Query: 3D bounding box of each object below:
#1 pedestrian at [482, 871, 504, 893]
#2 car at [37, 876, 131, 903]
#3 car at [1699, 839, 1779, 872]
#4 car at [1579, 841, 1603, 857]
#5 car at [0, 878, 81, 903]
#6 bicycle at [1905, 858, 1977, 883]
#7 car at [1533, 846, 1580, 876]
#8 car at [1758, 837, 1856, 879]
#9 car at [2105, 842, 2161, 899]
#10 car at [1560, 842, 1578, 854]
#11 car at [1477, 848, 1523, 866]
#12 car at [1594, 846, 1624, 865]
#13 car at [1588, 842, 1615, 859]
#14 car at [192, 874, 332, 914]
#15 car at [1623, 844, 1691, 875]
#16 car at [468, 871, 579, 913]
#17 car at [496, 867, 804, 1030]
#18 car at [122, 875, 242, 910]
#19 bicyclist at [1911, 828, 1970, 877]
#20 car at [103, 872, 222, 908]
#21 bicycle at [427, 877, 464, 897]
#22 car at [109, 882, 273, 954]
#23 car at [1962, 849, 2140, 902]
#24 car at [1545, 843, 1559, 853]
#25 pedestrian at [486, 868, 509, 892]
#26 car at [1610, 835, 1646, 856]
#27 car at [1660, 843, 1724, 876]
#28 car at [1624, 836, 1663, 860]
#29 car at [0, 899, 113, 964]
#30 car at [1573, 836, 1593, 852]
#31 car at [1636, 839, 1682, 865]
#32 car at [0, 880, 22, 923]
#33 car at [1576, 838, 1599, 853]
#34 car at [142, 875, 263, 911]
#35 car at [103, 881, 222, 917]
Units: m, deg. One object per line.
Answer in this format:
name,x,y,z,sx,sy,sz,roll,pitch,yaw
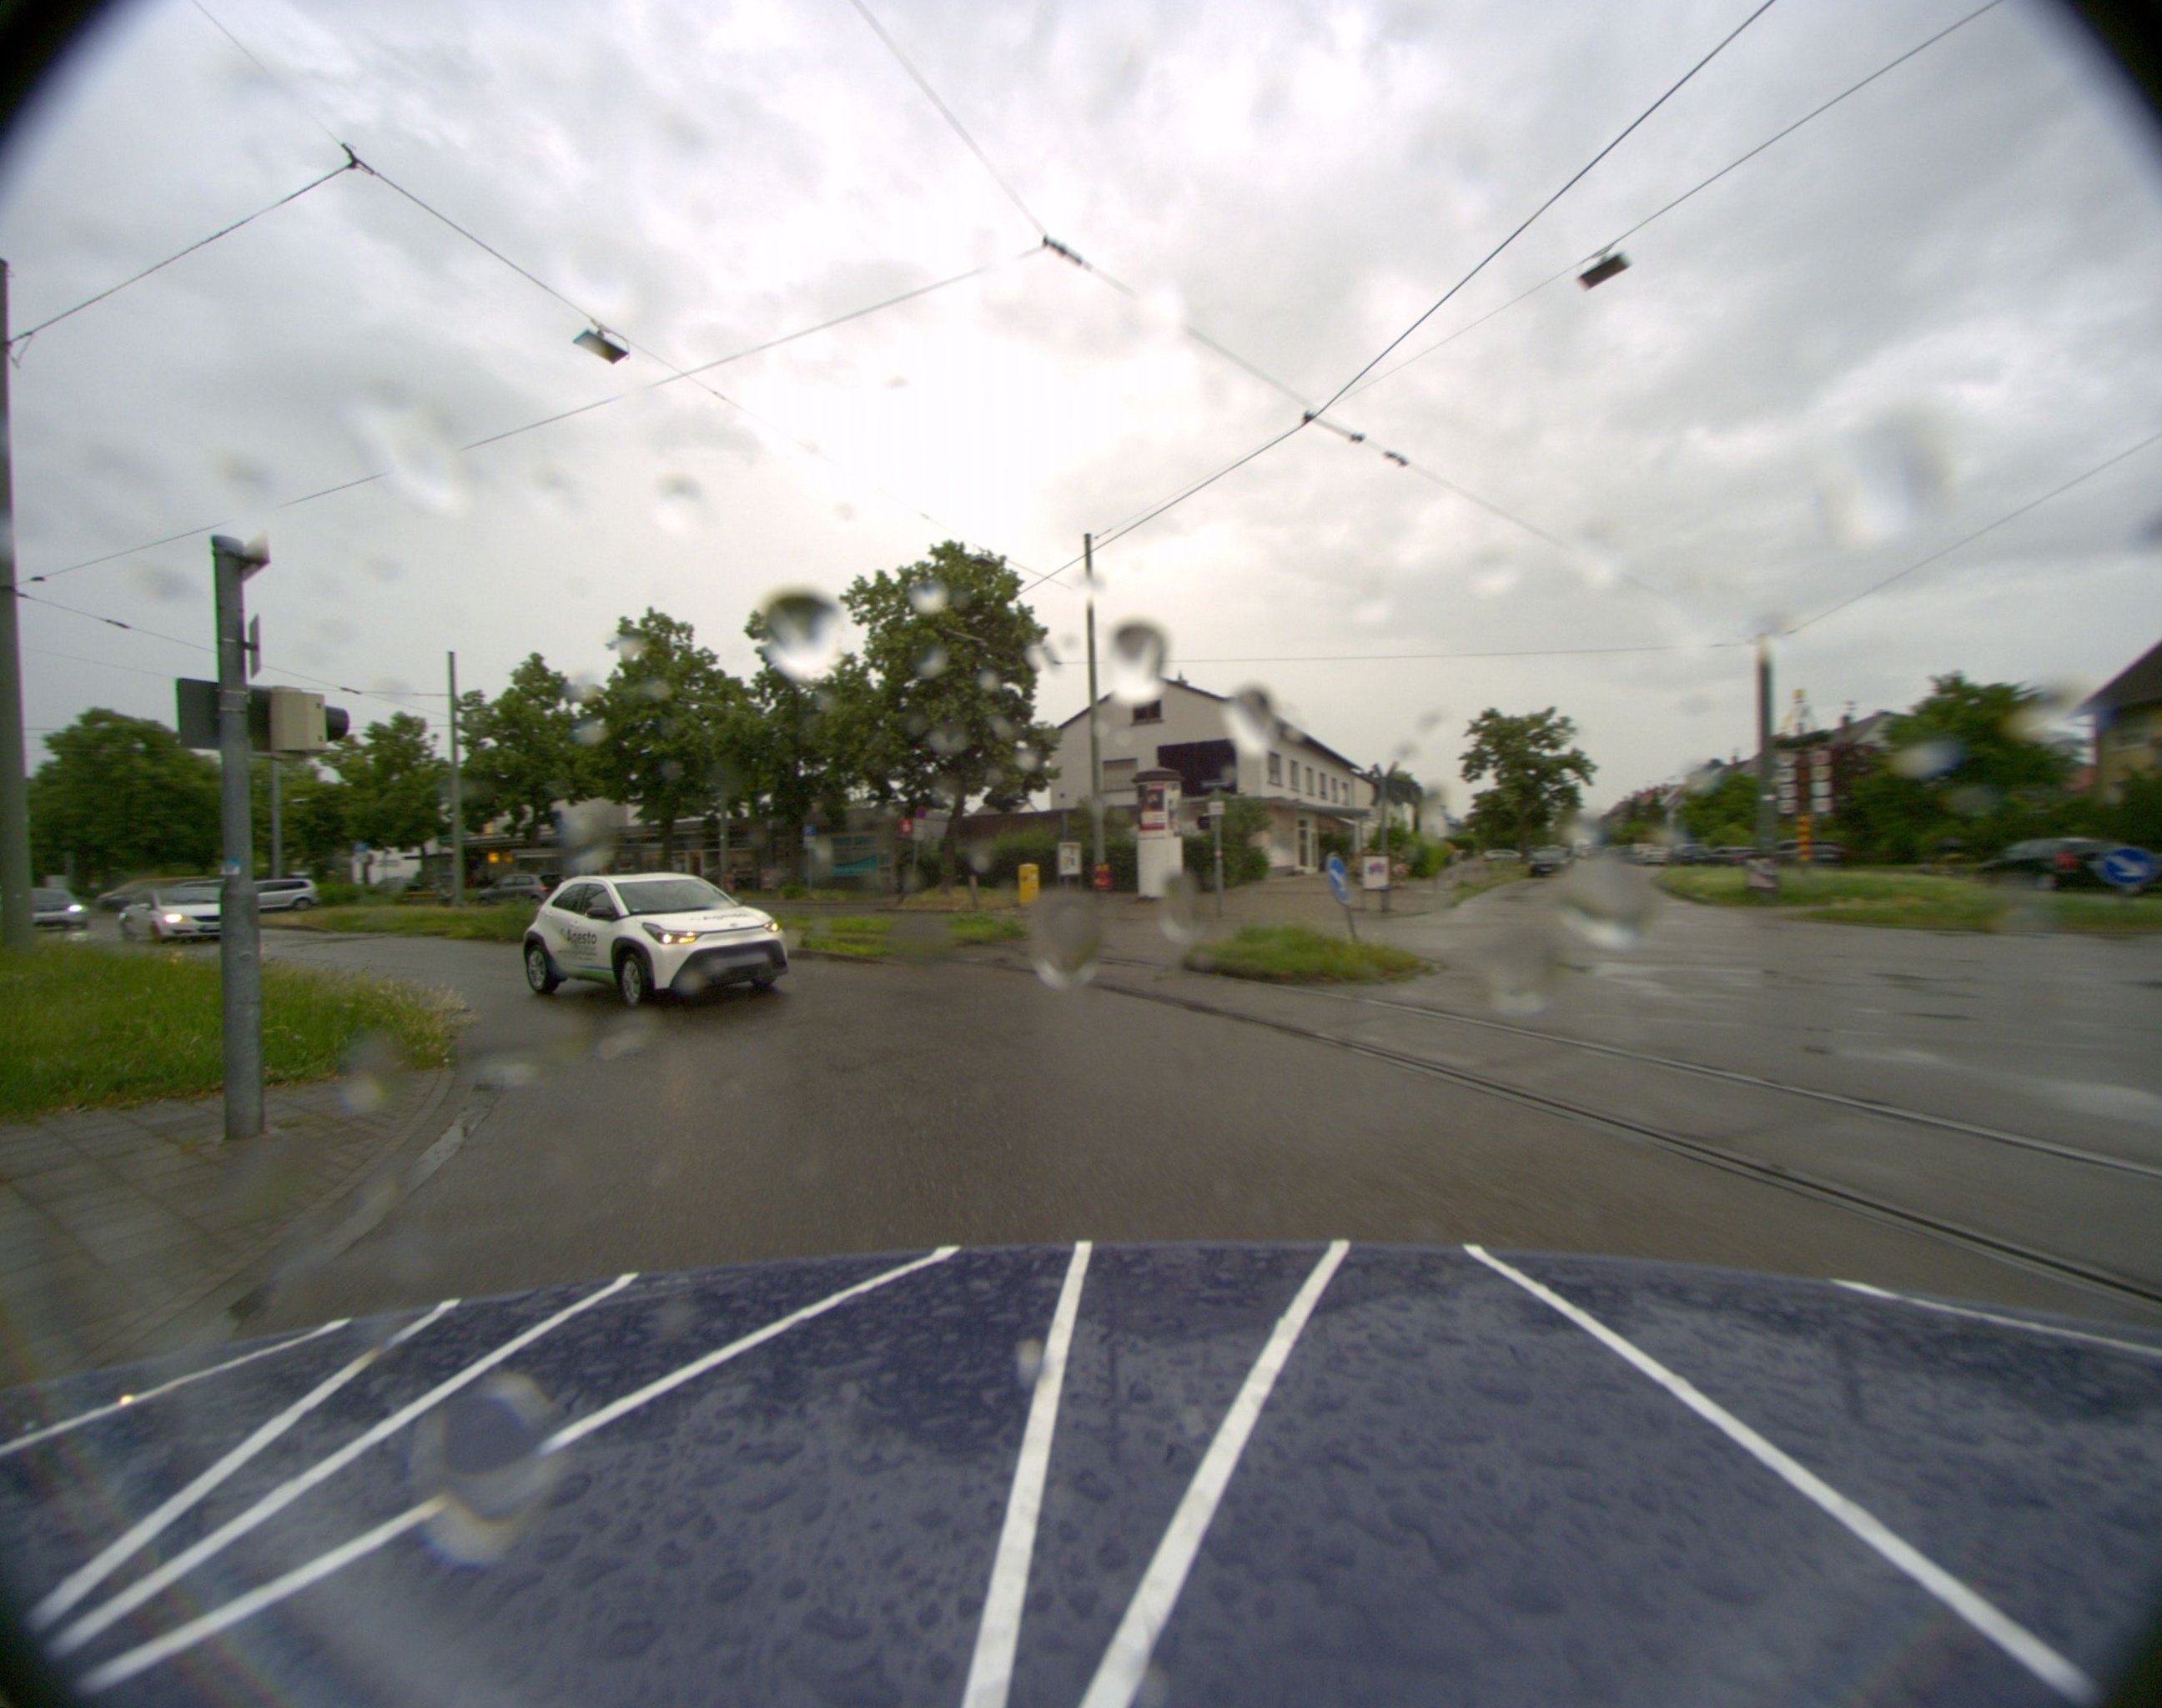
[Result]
pedestrian,-43.022,2.022,55.565,0.945,1.575,1.082,0,1,40
car,-85.414,3.008,65.152,1.894,1.932,4.556,-2,1,28
car,36.508,0.050,42.295,1.996,1.565,4.131,-2,2,20
car,62.853,-0.636,93.635,1.942,1.685,4.005,-1,2,26
car,-94.845,3.290,69.017,1.894,1.932,4.556,-2,1,28
bicycle,28.530,0.546,25.245,0.940,0.782,1.823,-1,-1,26
car,26.826,0.365,42.812,1.785,1.454,4.007,-1,2,38
car,34.655,0.146,36.402,1.995,1.784,4.004,-2,2,21
car,27.366,0.403,17.916,1.962,1.388,4.513,-1,0,26
car,80.383,-1.049,125.233,1.995,1.784,4.006,-1,2,26
car,42.376,0.283,76.981,3.990,1.673,2.003,-2,2,26
car,54.380,0.146,78.346,1.995,1.784,4.005,-1,2,26
car,61.095,-0.474,89.215,1.995,1.784,4.005,-1,2,26
car,-40.870,1.954,38.033,1.995,1.664,4.345,-2,1,28
car,29.124,0.262,38.534,1.995,1.467,4.007,-1,0,26
car,-22.781,1.533,31.106,3.617,1.495,1.553,-2,2,12
car,-5.469,1.089,9.554,3.705,1.614,1.724,-4,0,32
car,-52.006,2.215,44.051,1.894,1.699,4.098,-2,1,28
bicyclist,28.511,-0.045,25.230,0.947,1.588,1.044,-1,0,26
car,-59.323,2.305,49.168,1.894,1.932,4.556,-2,1,28
bicycle,-35.365,1.824,42.292,1.748,1.066,0.594,-1,0,12
car,-23.760,1.633,20.284,3.989,1.544,1.967,1,2,28
car,29.745,0.605,23.495,1.755,1.325,4.005,-2,2,25
car,97.669,-1.275,157.525,1.995,1.784,4.005,-1,2,26
pedestrian,-42.043,1.855,54.761,0.945,1.704,1.082,0,1,40
car,49.693,-0.792,69.085,1.995,1.784,4.005,-1,2,26
car,38.433,0.323,47.932,1.995,1.784,4.004,-2,2,21
car,47.499,-0.549,64.218,1.995,1.784,4.005,-1,2,26
car,-37.635,2.759,27.786,3.990,2.002,2.003,-1,2,28
car,69.218,-1.420,104.843,1.995,2.023,4.006,-1,2,28
car,43.704,-0.182,57.541,1.995,1.784,4.005,-1,2,26
car,-54.459,2.395,37.504,3.989,2.003,2.003,-1,3,30
car,65.860,-1.136,98.808,1.995,1.784,4.005,-1,2,26
car,-49.617,2.147,43.007,1.894,1.699,4.098,-2,1,28
car,-56.774,2.755,47.074,1.894,1.799,4.312,-2,1,28
